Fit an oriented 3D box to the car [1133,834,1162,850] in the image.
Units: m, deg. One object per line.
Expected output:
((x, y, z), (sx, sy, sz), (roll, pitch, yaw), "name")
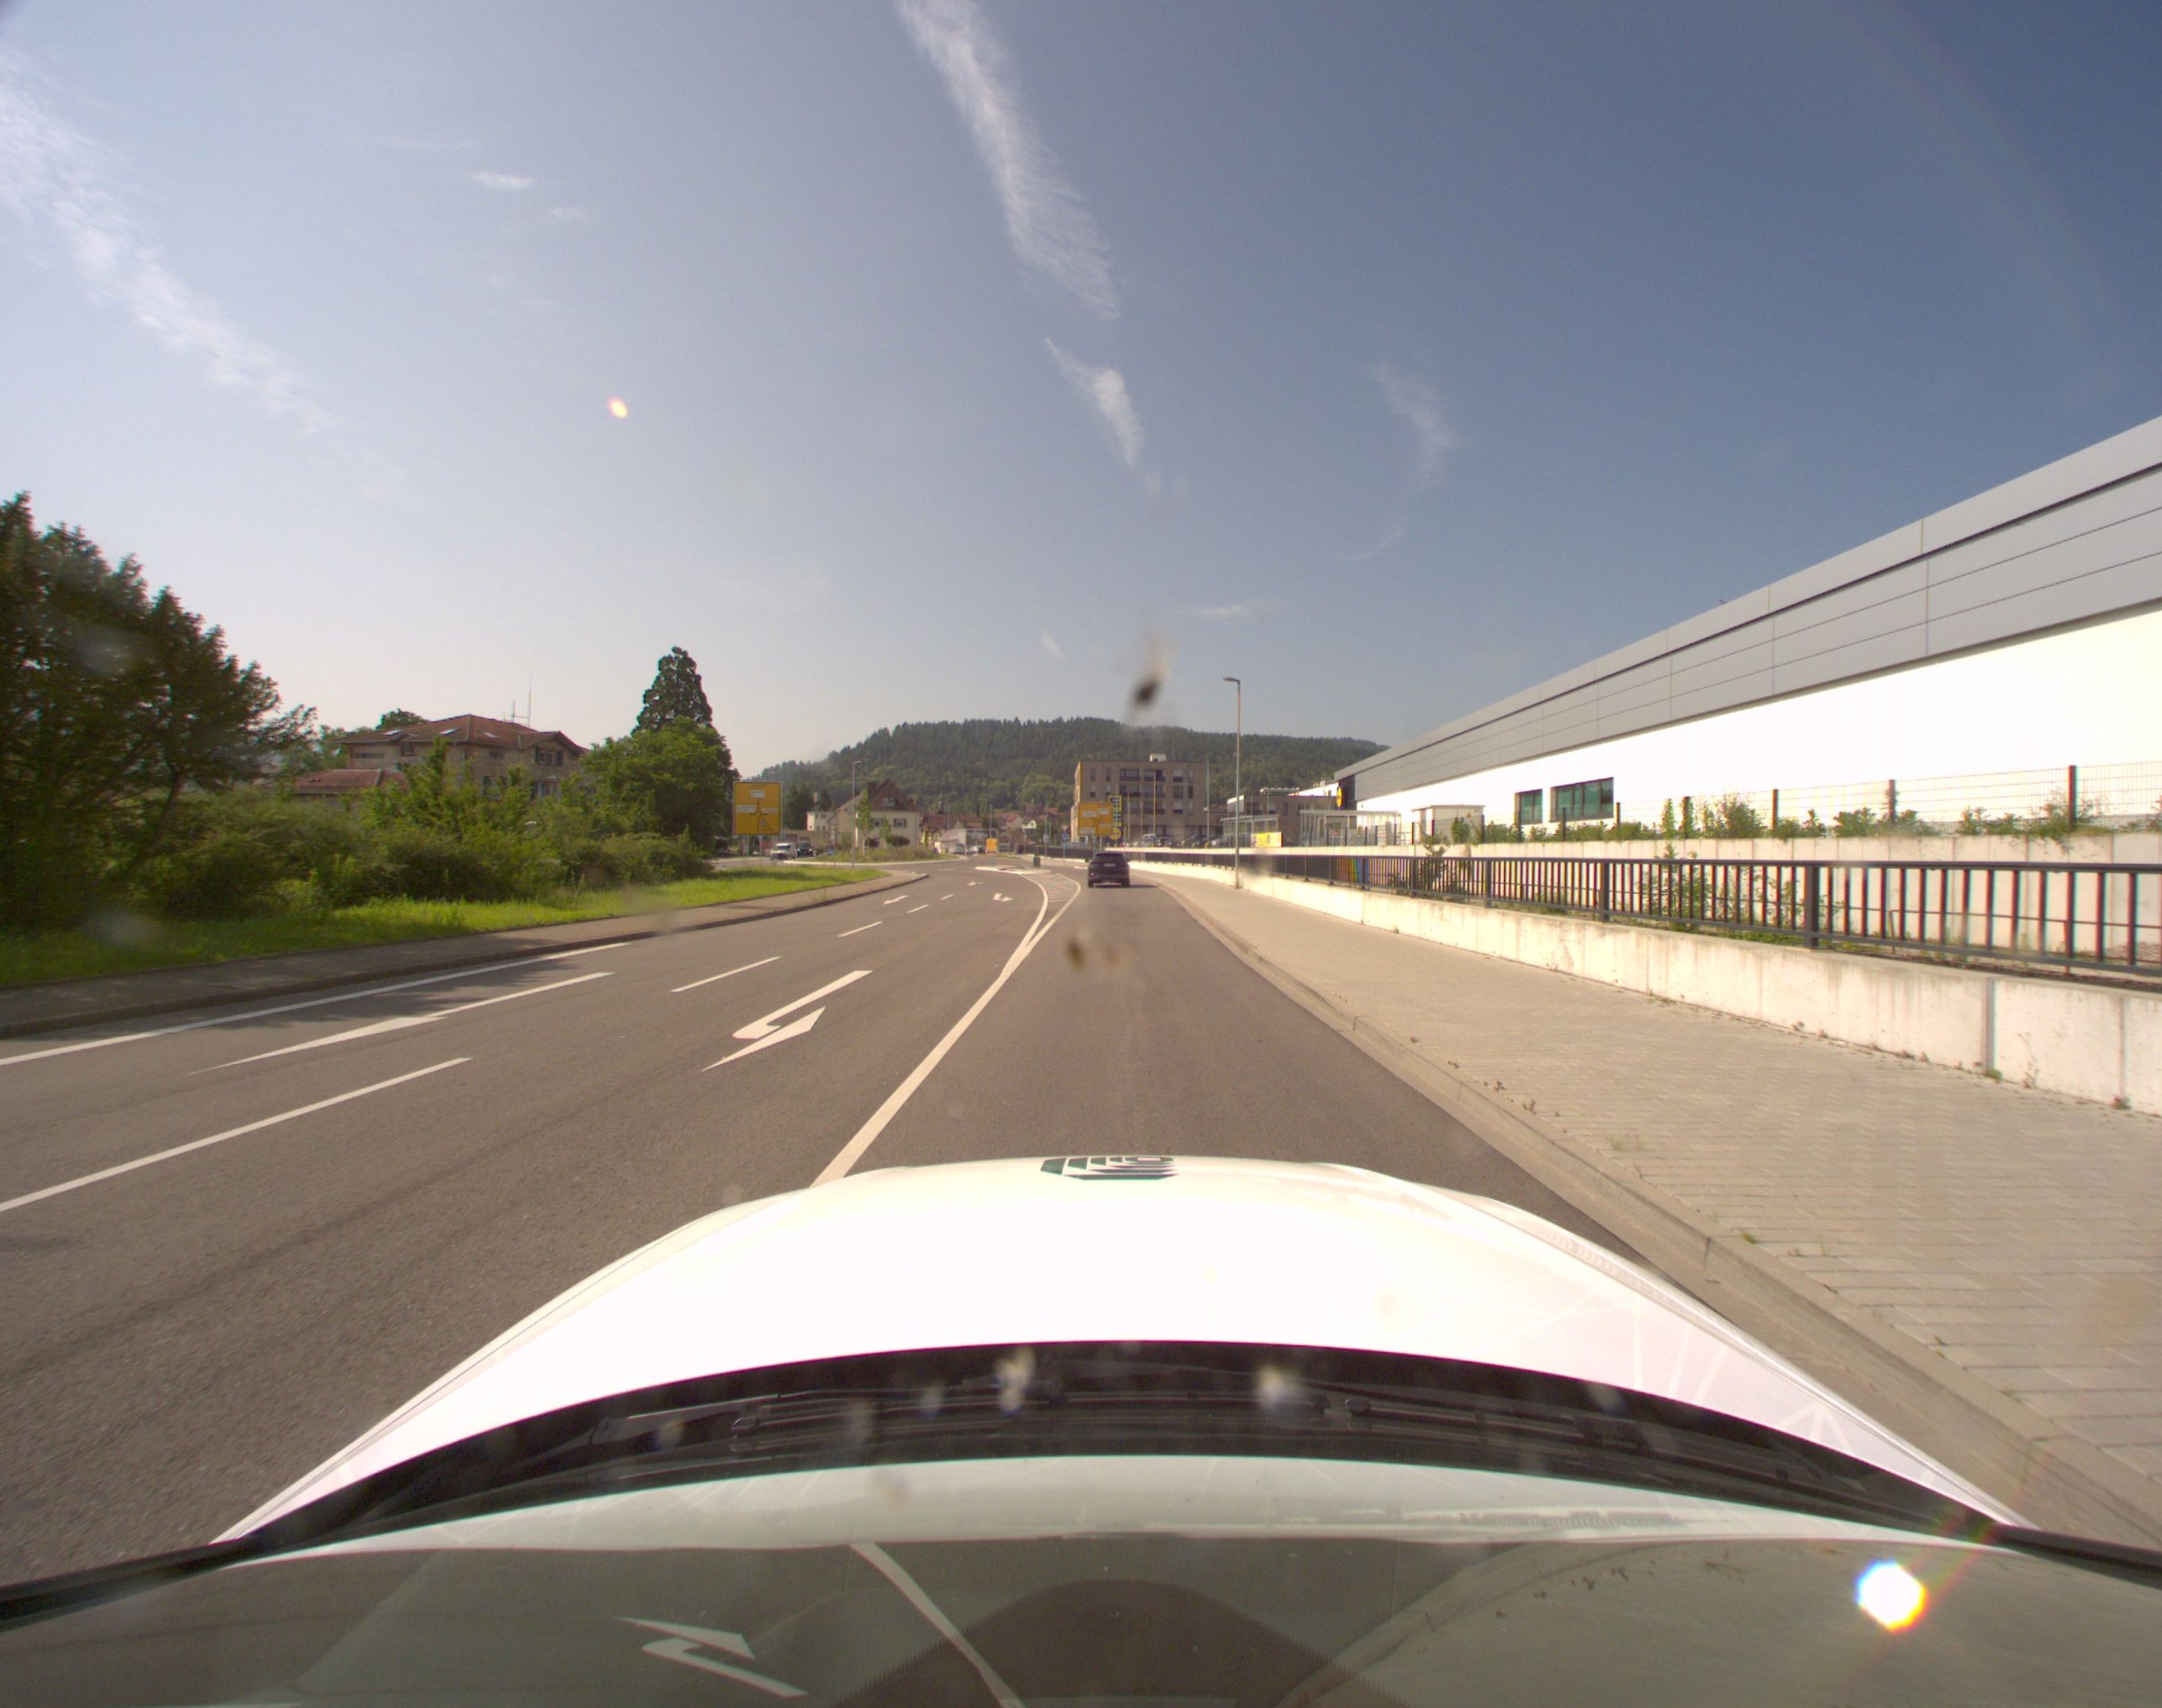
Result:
((9.298, -1.701, 113.496), (3.968, 2.136, 2.003), (-1, 0, 4), "car")

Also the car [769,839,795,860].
((-33.384, -0.513, 90.961), (1.805, 2.077, 4.592), (1, 3, -9), "car")

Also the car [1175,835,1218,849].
((11.814, -1.182, 83.405), (4.014, 1.404, 1.715), (0, 1, -17), "car")

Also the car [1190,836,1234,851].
((12.794, -1.049, 79.724), (4.071, 1.404, 1.477), (0, 1, -17), "car")

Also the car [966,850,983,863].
((-17.717, 0.401, 134.993), (2.000, 2.013, 3.973), (0, 0, -20), "car")

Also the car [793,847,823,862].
((-35.738, 0.096, 106.711), (1.830, 1.946, 4.891), (-1, 0, 6), "car")

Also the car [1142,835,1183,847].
((9.230, -1.484, 92.203), (4.288, 1.245, 1.655), (0, 1, -17), "car")

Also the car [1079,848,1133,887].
((1.082, 0.610, 37.435), (1.879, 1.684, 3.990), (0, 0, -7), "car")

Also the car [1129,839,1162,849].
((7.764, -1.198, 97.696), (3.563, 1.199, 1.705), (0, 1, -17), "car")

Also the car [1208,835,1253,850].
((14.088, -1.082, 76.621), (3.814, 1.364, 1.671), (0, 1, -17), "car")

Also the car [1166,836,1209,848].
((11.352, -1.250, 86.773), (4.223, 1.245, 1.734), (0, 1, -17), "car")

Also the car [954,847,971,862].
((-16.989, 0.099, 116.895), (1.990, 2.013, 3.994), (0, 0, -4), "car")
